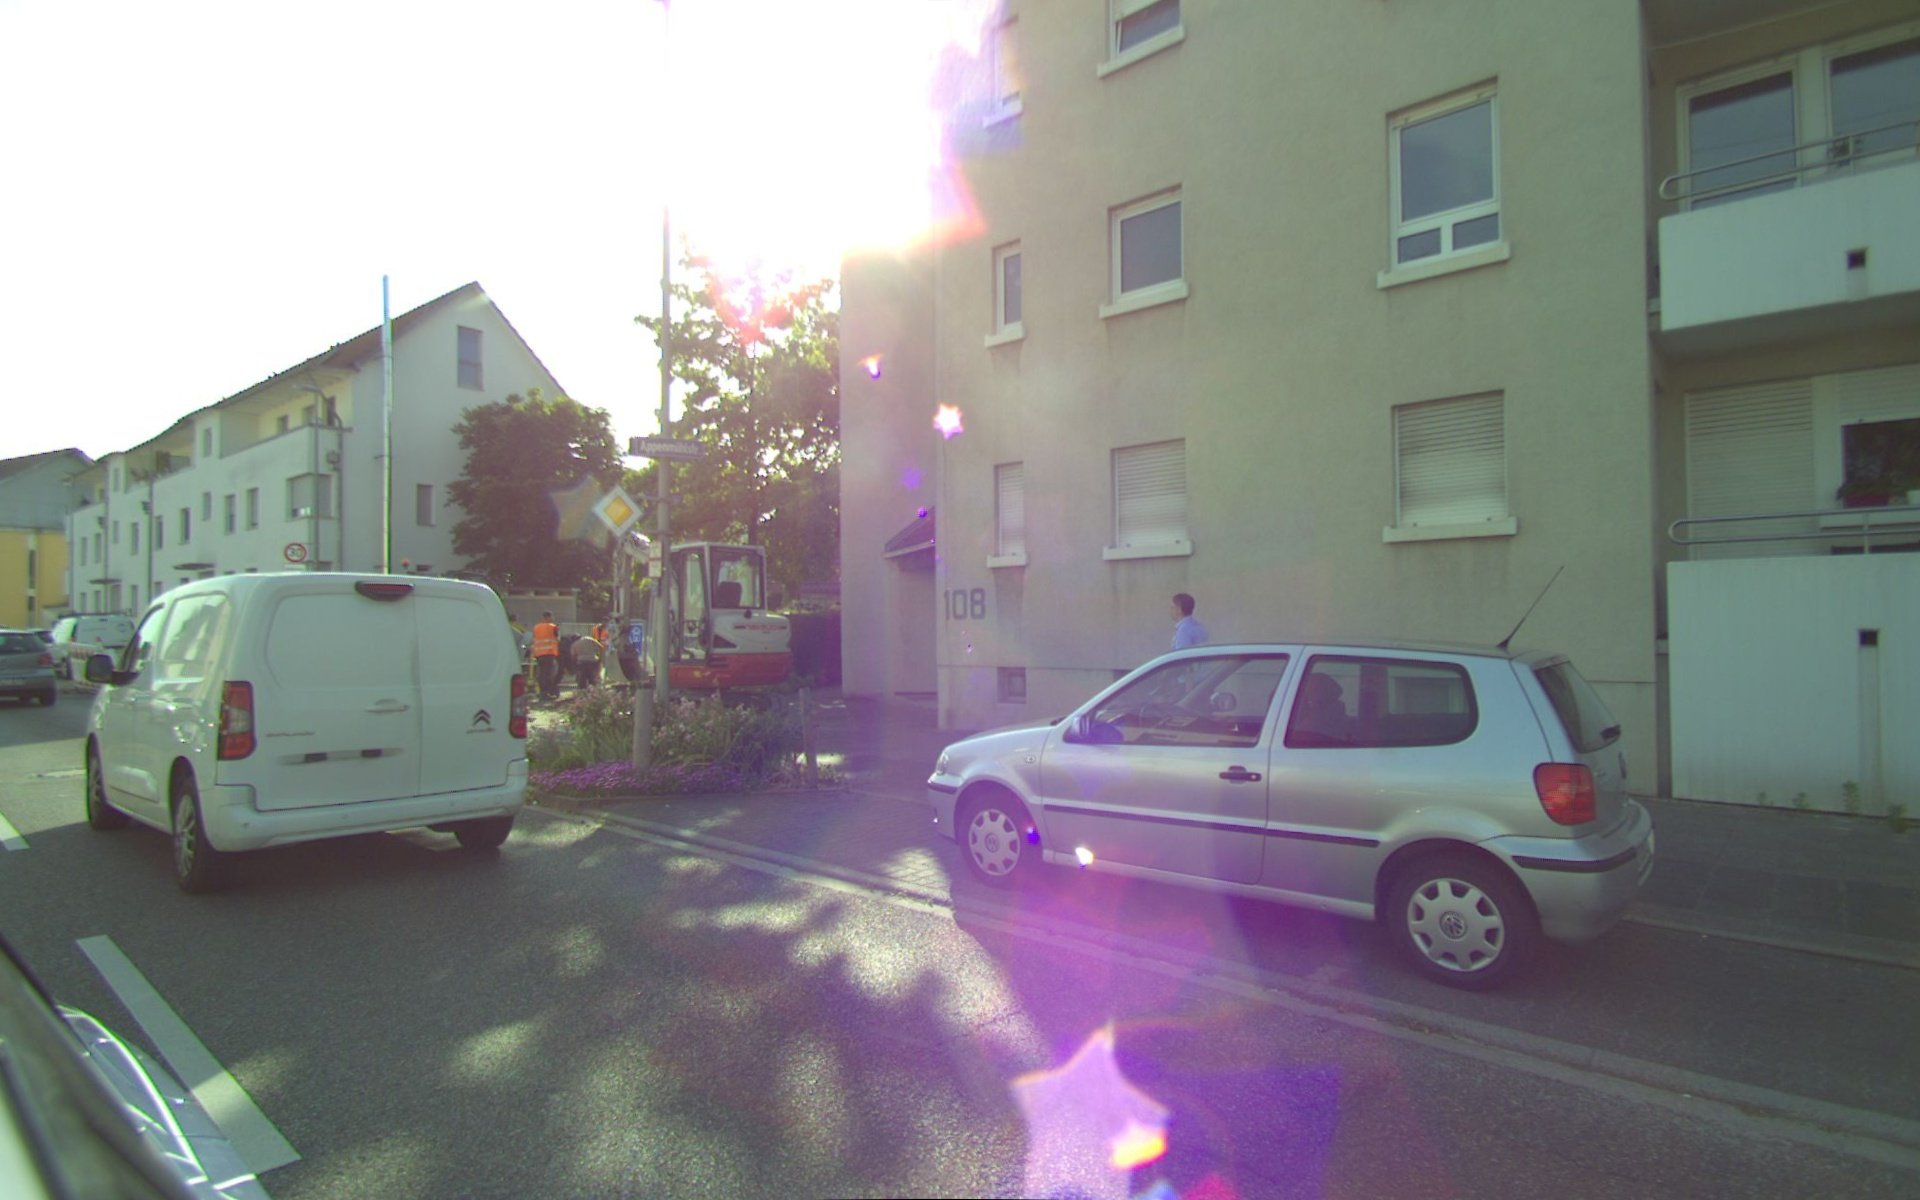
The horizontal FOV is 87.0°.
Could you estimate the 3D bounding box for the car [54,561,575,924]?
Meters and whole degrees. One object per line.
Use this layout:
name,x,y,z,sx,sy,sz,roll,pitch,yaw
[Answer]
car,-4.723,0.797,7.139,4.335,1.780,1.902,-2,-4,41

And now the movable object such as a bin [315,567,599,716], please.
movable object such as a bin,-11.021,0.867,22.686,2.103,2.923,5.460,-3,-2,29

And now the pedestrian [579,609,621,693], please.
pedestrian,-9.004,1.263,25.323,0.755,2.034,0.895,0,-2,-36

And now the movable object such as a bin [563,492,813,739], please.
movable object such as a bin,-4.074,0.280,14.861,3.897,3.162,1.631,-3,-3,40

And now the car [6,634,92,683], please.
car,-29.868,1.900,33.165,3.508,1.476,1.479,-2,-1,37

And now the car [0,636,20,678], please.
car,-39.164,2.264,40.227,4.252,1.634,1.713,-2,-2,34

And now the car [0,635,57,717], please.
car,-18.609,1.409,19.251,3.682,1.466,1.601,-2,-3,40

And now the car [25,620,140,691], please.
car,-26.194,1.637,30.179,4.431,1.975,1.711,-3,-2,37

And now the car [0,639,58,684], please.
car,-34.619,2.227,36.830,4.252,1.489,1.713,-2,0,34

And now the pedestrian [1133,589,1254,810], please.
pedestrian,2.057,0.841,8.917,0.745,1.832,0.711,-3,-2,42

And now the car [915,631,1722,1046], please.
car,1.647,0.895,5.342,3.670,1.406,1.623,-2,-2,41
